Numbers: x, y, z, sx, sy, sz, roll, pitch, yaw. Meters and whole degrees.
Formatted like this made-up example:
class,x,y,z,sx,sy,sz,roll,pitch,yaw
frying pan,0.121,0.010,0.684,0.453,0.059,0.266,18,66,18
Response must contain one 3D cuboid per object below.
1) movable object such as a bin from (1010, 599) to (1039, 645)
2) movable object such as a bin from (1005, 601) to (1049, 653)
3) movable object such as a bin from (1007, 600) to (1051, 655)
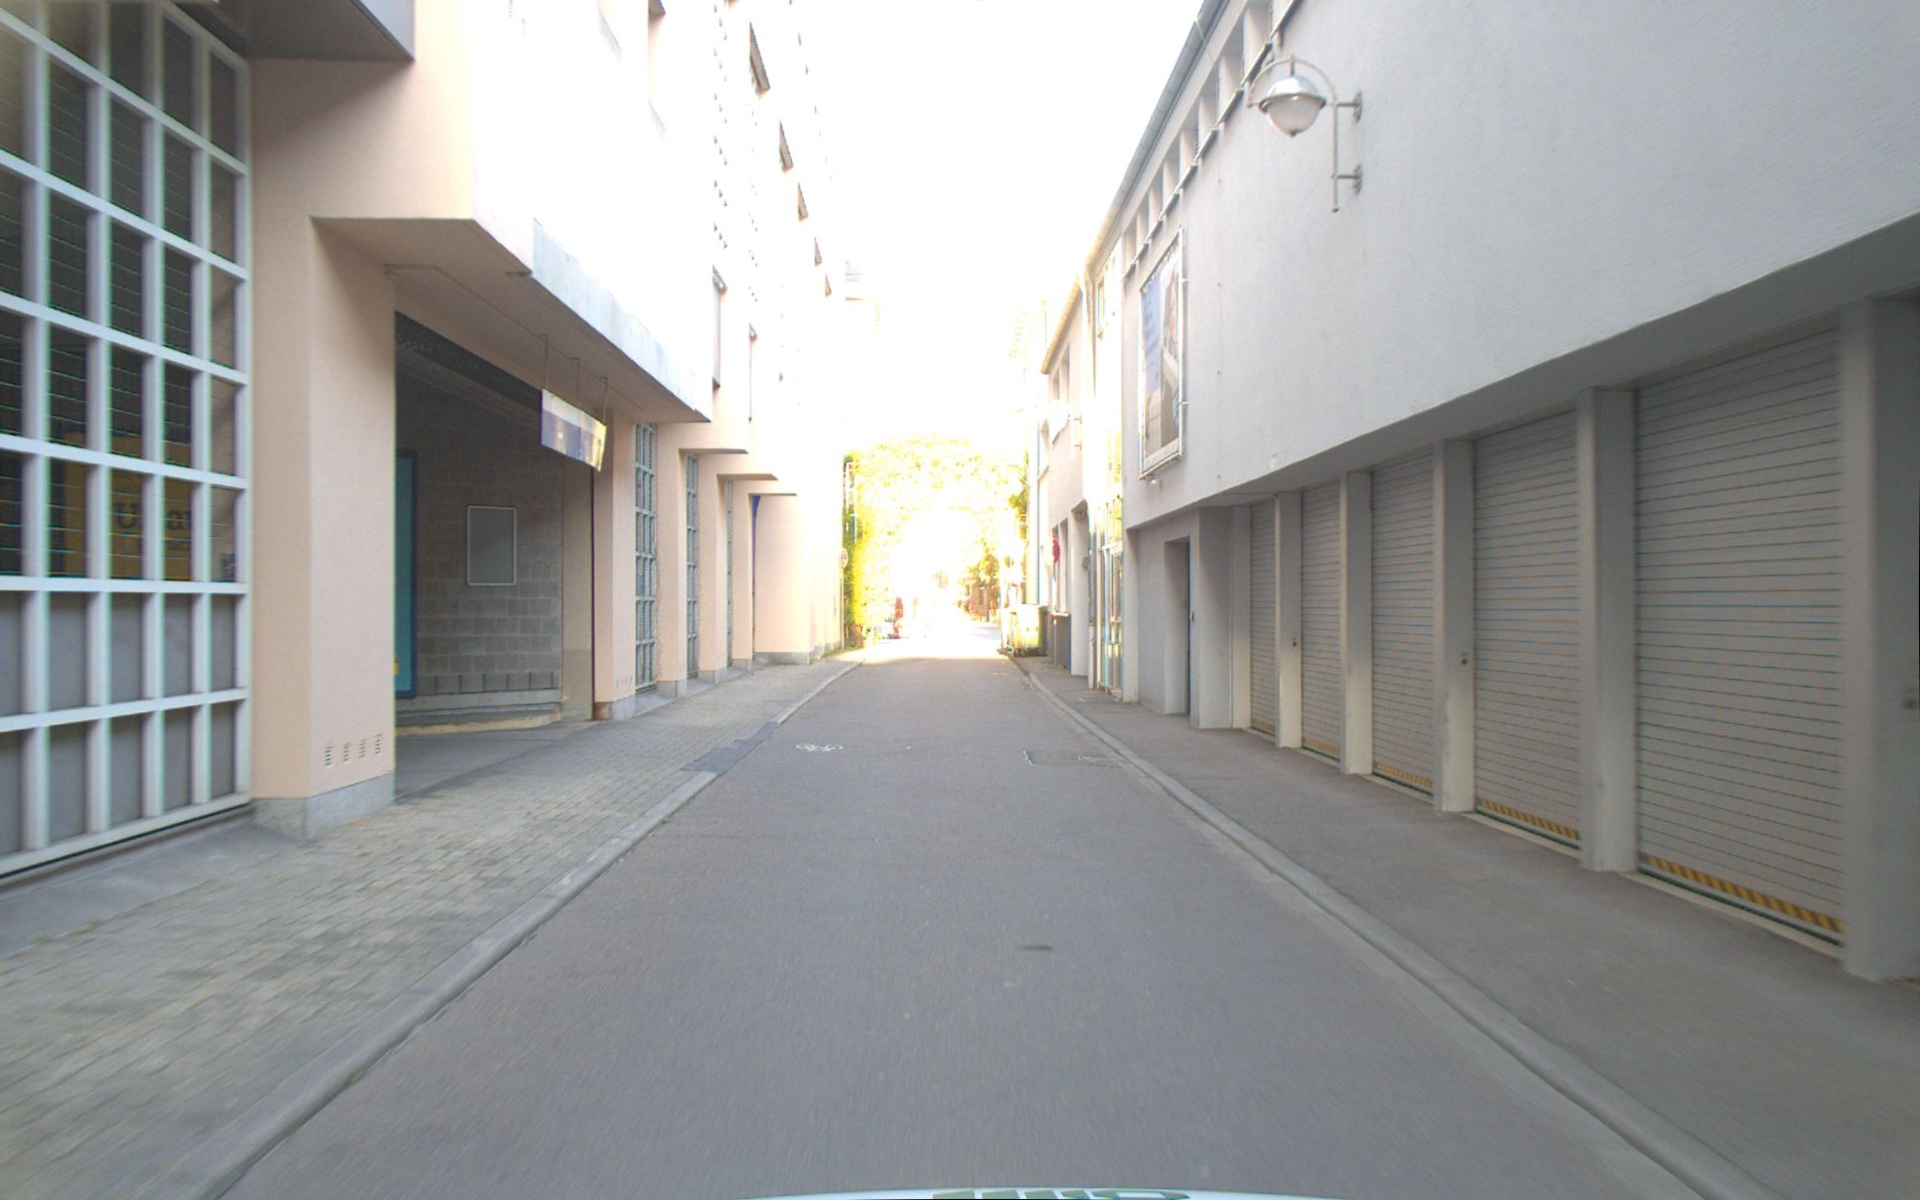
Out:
class,x,y,z,sx,sy,sz,roll,pitch,yaw
movable object such as a bin,1.966,0.664,50.455,0.818,1.327,1.290,-2,0,2
movable object such as a bin,1.849,0.739,45.802,1.043,1.390,1.341,-2,0,-3
movable object such as a bin,1.837,0.728,44.397,0.919,1.390,1.340,-2,0,-7
